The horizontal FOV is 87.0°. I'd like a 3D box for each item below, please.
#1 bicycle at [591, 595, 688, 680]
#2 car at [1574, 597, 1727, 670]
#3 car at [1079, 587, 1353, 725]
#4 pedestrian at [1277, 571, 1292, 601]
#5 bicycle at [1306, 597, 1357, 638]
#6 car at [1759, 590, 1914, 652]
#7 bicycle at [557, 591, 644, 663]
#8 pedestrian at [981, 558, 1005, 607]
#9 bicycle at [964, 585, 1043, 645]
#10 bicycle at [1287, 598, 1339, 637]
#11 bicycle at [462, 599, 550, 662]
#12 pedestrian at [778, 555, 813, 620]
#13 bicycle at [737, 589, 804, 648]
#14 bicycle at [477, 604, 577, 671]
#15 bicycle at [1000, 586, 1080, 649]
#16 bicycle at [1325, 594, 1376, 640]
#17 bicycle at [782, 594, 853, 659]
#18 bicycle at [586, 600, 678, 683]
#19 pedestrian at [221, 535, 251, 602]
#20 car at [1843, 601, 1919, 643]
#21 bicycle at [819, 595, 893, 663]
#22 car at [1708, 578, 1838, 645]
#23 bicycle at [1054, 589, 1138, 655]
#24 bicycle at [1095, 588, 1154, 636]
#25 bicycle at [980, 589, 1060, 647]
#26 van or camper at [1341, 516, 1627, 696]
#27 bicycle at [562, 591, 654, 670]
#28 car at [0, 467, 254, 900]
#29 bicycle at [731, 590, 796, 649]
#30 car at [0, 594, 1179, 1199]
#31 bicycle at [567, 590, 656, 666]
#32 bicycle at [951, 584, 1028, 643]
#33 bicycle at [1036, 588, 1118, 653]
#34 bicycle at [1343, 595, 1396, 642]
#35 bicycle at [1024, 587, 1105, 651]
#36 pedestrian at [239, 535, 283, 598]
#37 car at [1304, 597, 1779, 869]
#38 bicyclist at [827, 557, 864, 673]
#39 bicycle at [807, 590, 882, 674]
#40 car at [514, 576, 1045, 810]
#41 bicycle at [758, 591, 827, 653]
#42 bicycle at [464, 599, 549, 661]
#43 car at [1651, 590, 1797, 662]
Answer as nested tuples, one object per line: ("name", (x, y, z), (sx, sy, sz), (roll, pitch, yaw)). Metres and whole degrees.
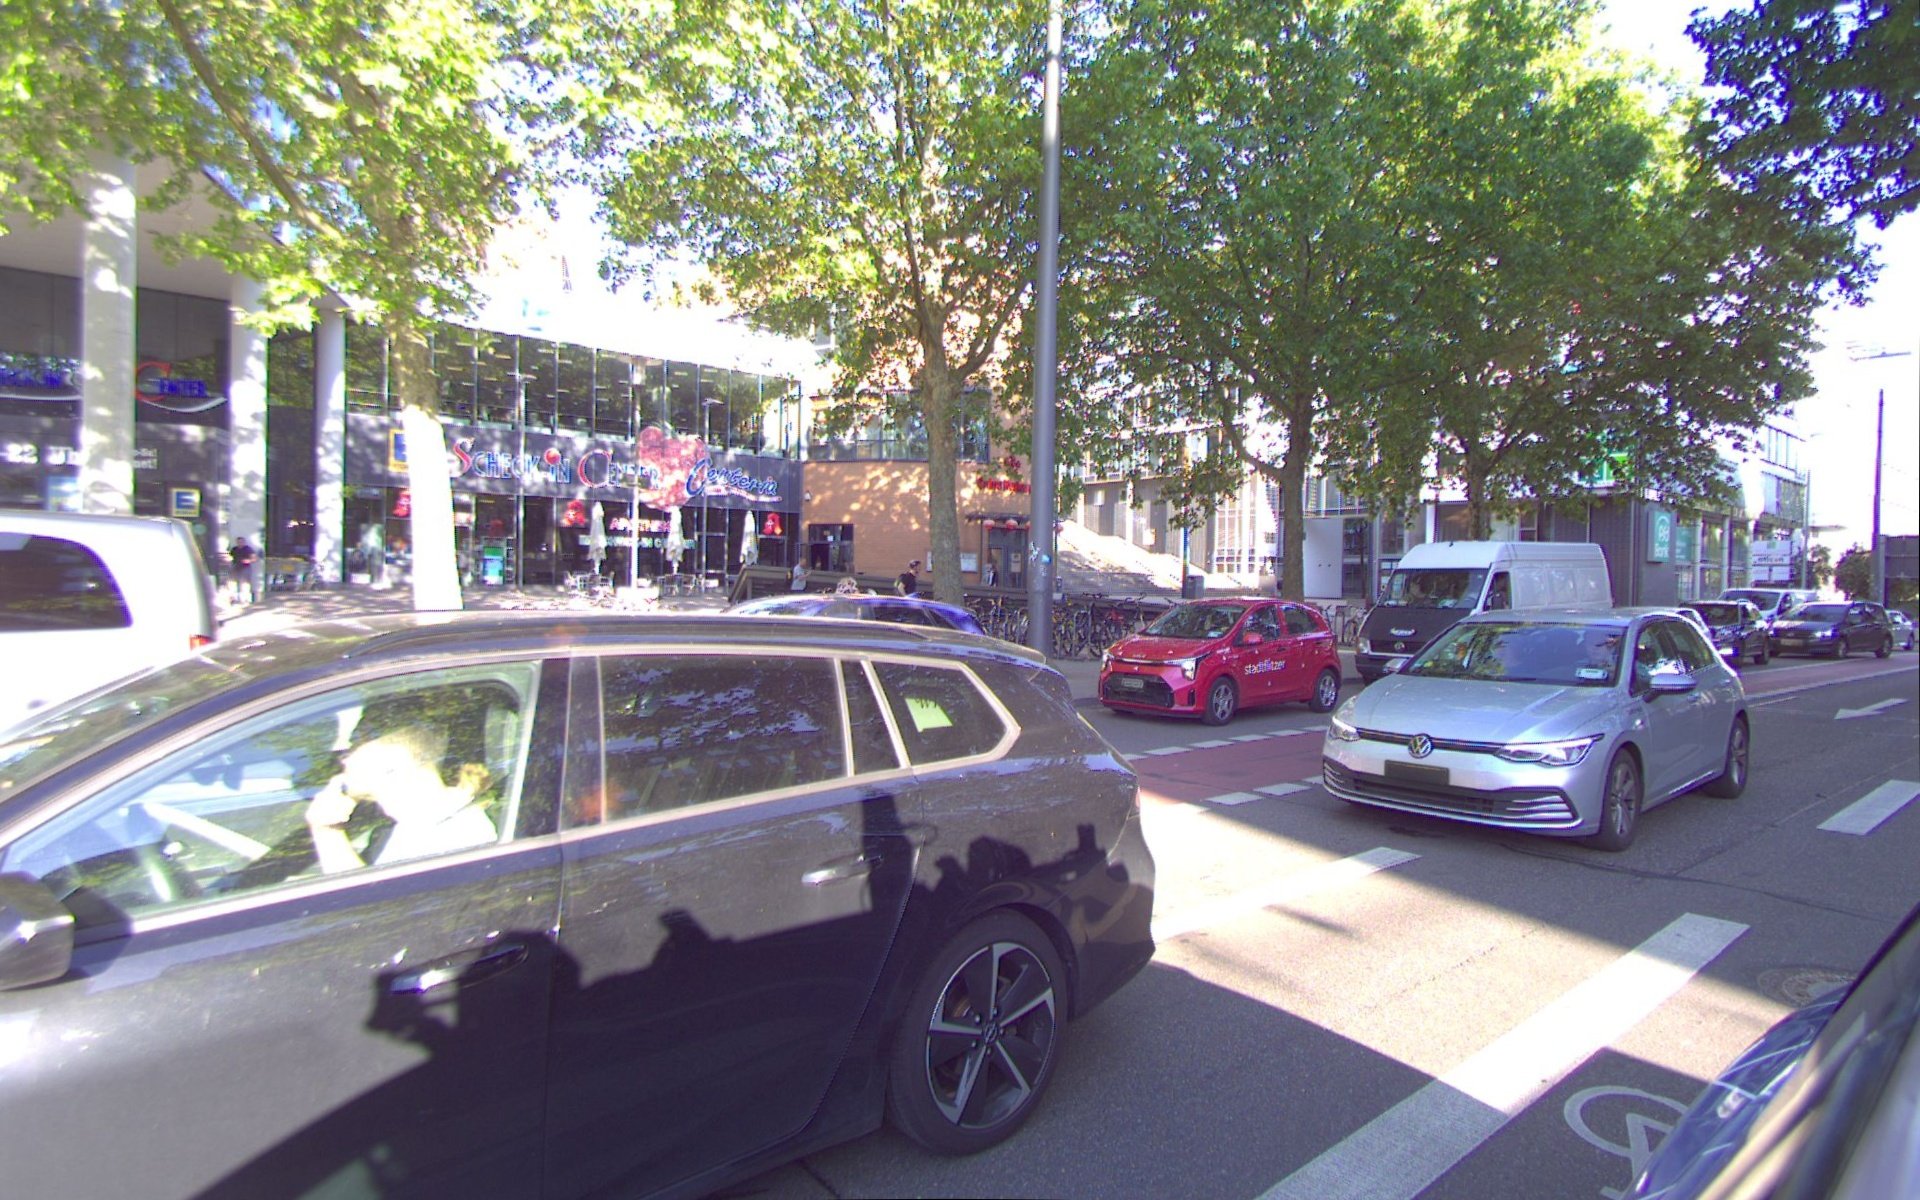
("bicycle", (-4.399, 0.497, 13.916), (1.202, 1.110, 0.413), (0, 1, -40))
("car", (15.225, 0.681, 22.240), (3.927, 1.446, 1.683), (0, 1, -38))
("car", (3.319, 0.599, 12.817), (3.588, 1.476, 1.605), (0, 1, -41))
("pedestrian", (17.691, -0.775, 55.223), (0.707, 1.578, 0.638), (1, 1, 14))
("bicycle", (10.311, 0.472, 28.045), (1.766, 1.108, 0.522), (0, 2, -41))
("car", (25.298, 0.581, 29.192), (4.242, 1.640, 1.970), (0, 1, -28))
("bicycle", (-5.786, 0.416, 16.317), (0.414, 1.110, 1.269), (2, 1, 41))
("pedestrian", (1.397, -0.753, 42.737), (0.575, 2.062, 0.876), (1, 1, -35))
("bicycle", (0.937, 0.299, 21.349), (1.818, 1.209, 0.458), (0, 1, -41))
("bicycle", (9.928, 0.474, 28.455), (1.818, 1.046, 0.515), (0, 2, -41))
("bicycle", (-6.956, 0.456, 15.543), (1.198, 0.930, 0.442), (1, 1, -22))
("pedestrian", (-4.606, -0.354, 28.340), (0.868, 1.805, 0.604), (1, 1, -17))
("bicycle", (-3.640, 0.346, 19.506), (1.202, 1.110, 0.444), (0, 1, -40))
("bicycle", (-6.235, 0.521, 14.597), (1.231, 0.898, 0.462), (0, 1, -40))
("bicycle", (1.631, 0.341, 20.521), (1.818, 1.209, 0.447), (0, 1, -41))
("bicycle", (10.667, 0.443, 27.633), (1.818, 1.209, 0.495), (0, 1, -41))
("bicycle", (-2.536, 0.452, 18.057), (1.202, 1.110, 0.400), (0, 1, -40))
("bicycle", (-4.577, 0.566, 14.182), (1.202, 1.110, 0.269), (0, 1, -40))
("pedestrian", (-18.740, -0.802, 26.192), (0.506, 1.707, 0.604), (1, 1, -23))
("car", (33.522, 0.750, 36.522), (3.927, 1.394, 1.802), (0, 2, -38))
("bicycle", (-1.756, 0.471, 17.121), (1.202, 1.110, 0.420), (0, 1, -40))
("car", (26.388, 0.345, 32.803), (4.863, 2.020, 1.968), (0, 1, -35))
("bicycle", (2.624, 0.401, 19.366), (1.818, 1.209, 0.481), (0, 1, -41))
("bicycle", (4.405, 0.308, 27.053), (1.759, 1.209, 0.517), (0, 1, -41))
("bicycle", (1.258, 0.353, 20.970), (1.818, 1.139, 0.484), (0, 2, -41))
("van or camper", (9.261, 0.073, 17.538), (6.456, 2.611, 1.998), (0, 0, -39))
("bicycle", (-5.154, 0.426, 14.841), (1.202, 1.110, 0.396), (0, 1, -40))
("car", (-6.219, 0.359, 4.388), (5.008, 2.004, 1.940), (0, 2, -41))
("bicycle", (-3.885, 0.375, 20.050), (1.202, 1.110, 0.429), (0, 1, -40))
("car", (-1.461, 0.703, 2.433), (4.196, 1.432, 1.742), (0, 0, -41))
("bicycle", (-5.357, 0.408, 15.589), (0.372, 1.110, 1.269), (2, 1, 41))
("bicycle", (0.639, 0.273, 21.702), (1.818, 1.209, 0.434), (0, 1, -41))
("bicycle", (2.301, 0.390, 19.752), (1.818, 1.209, 0.448), (0, 1, -41))
("bicycle", (11.035, 0.480, 27.234), (1.818, 1.209, 0.521), (0, 2, -41))
("bicycle", (2.113, 0.364, 20.260), (1.818, 1.209, 0.484), (0, 1, -41))
("pedestrian", (-19.463, -0.930, 28.166), (0.798, 1.728, 0.711), (2, 1, 26))
("car", (4.363, 0.713, 7.360), (3.928, 1.458, 1.733), (0, 0, -39))
("bicyclist", (-1.790, 0.228, 15.809), (0.392, 1.782, 0.390), (0, 1, -41))
("bicycle", (-1.791, 0.483, 15.797), (1.126, 1.271, 0.379), (0, 1, -41))
("car", (-1.362, 0.593, 8.664), (4.177, 1.503, 1.742), (0, 2, -41))
("bicycle", (-3.106, 0.389, 18.841), (1.202, 1.110, 0.427), (0, 1, -40))
("bicycle", (-7.118, 0.465, 15.921), (1.198, 0.938, 0.465), (1, 1, -22))
("car", (19.143, 0.592, 25.320), (4.148, 1.640, 1.819), (0, 1, -36))
